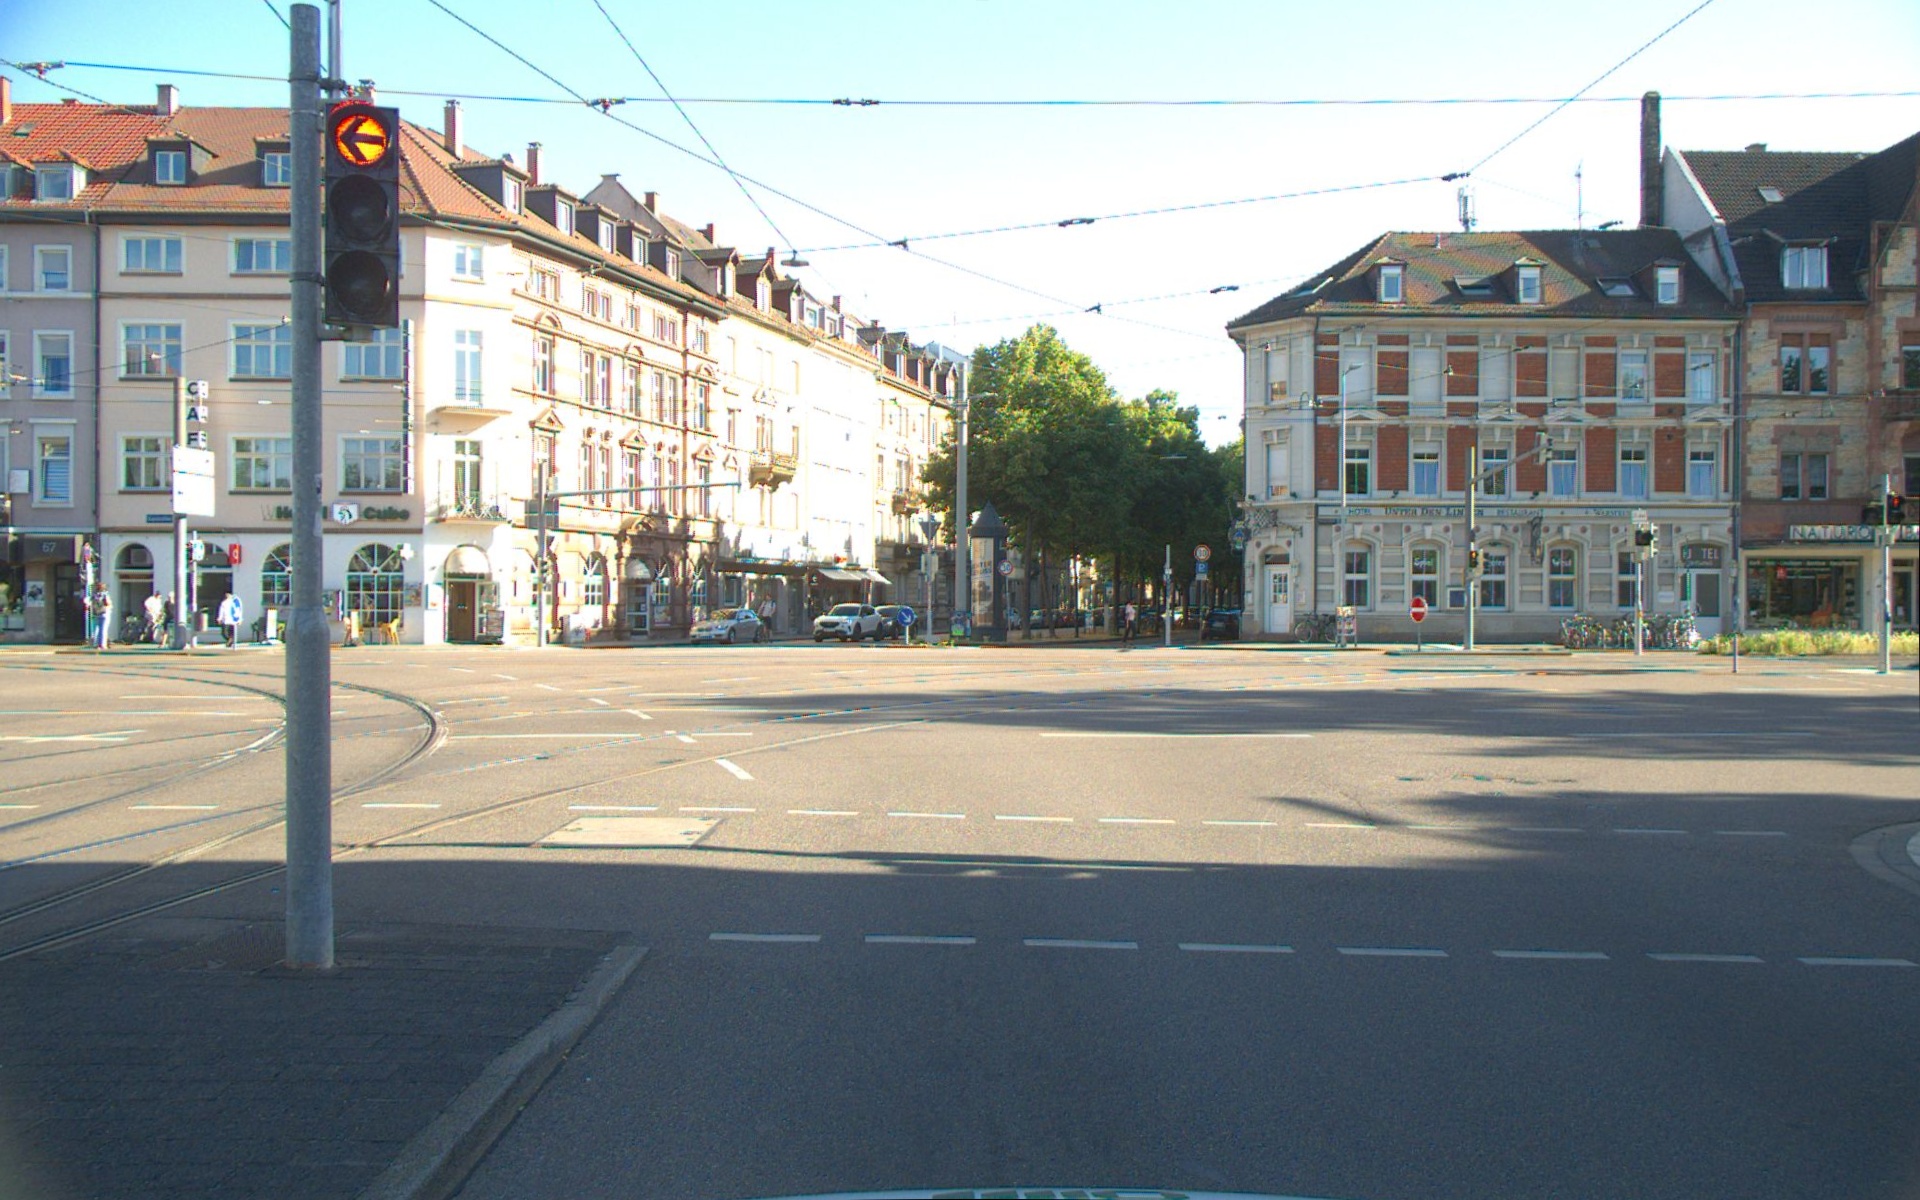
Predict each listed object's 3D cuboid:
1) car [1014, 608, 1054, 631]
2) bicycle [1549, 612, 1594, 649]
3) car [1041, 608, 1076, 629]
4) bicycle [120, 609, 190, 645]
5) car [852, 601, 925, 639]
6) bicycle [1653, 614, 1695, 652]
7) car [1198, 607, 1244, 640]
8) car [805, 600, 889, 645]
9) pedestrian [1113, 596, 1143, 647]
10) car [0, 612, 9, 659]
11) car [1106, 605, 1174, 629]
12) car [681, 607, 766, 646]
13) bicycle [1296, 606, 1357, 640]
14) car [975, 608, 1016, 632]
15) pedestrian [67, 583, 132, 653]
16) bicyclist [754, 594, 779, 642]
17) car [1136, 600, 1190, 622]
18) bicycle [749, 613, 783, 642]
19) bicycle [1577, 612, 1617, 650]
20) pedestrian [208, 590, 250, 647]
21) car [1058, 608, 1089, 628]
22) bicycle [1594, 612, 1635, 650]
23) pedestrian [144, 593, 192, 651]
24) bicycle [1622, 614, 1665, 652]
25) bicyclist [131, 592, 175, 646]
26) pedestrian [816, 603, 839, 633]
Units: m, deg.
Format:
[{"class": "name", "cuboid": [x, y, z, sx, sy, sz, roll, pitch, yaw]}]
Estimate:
[{"class": "car", "cuboid": [5.525, 1.422, 122.732, 1.951, 1.640, 4.393, 0, 0, 17]}, {"class": "bicycle", "cuboid": [19.820, 0.984, 53.652, 0.789, 1.163, 2.175, 0, 0, 4]}, {"class": "car", "cuboid": [7.778, 1.419, 130.556, 1.798, 1.579, 4.393, 0, 0, 16]}, {"class": "bicycle", "cuboid": [-27.172, 0.920, 55.848, 2.048, 1.202, 0.631, 0, 0, -1]}, {"class": "car", "cuboid": [-3.150, 0.859, 73.782, 1.951, 1.640, 4.393, 0, 0, 17]}, {"class": "bicycle", "cuboid": [23.035, 1.054, 53.392, 0.596, 1.156, 2.136, 0, 0, 4]}, {"class": "car", "cuboid": [13.068, 1.156, 82.627, 1.951, 1.613, 4.003, 0, 0, 13]}, {"class": "car", "cuboid": [-4.544, 0.881, 67.247, 1.951, 1.713, 4.393, 0, 0, 17]}, {"class": "pedestrian", "cuboid": [5.847, 0.749, 57.470, 1.024, 1.774, 0.809, 0, 0, 5]}, {"class": "car", "cuboid": [-32.400, 1.142, 51.939, 3.907, 1.478, 1.999, 0, 0, -3]}, {"class": "car", "cuboid": [12.591, 1.196, 115.517, 4.290, 1.640, 1.998, 0, 0, 26]}, {"class": "car", "cuboid": [-9.528, 1.033, 66.893, 1.858, 1.481, 4.002, 0, 0, 17]}, {"class": "bicycle", "cuboid": [12.749, 0.815, 57.577, 2.045, 1.144, 0.366, 1, -1, -5]}, {"class": "car", "cuboid": [2.411, 1.322, 110.984, 1.951, 1.512, 4.003, 0, 0, 13]}, {"class": "pedestrian", "cuboid": [-21.569, 0.446, 41.487, 1.058, 1.714, 1.103, 0, 0, -1]}, {"class": "bicyclist", "cuboid": [-7.587, 0.691, 64.925, 0.664, 1.852, 1.071, 0, 0, 12]}, {"class": "car", "cuboid": [16.417, 0.881, 133.866, 3.912, 1.736, 1.996, 0, 0, 30]}, {"class": "bicycle", "cuboid": [-7.598, 1.079, 64.883, 0.665, 1.085, 2.127, 0, 0, 12]}, {"class": "bicycle", "cuboid": [20.591, 0.995, 53.533, 0.605, 1.163, 2.175, 0, 0, 4]}, {"class": "pedestrian", "cuboid": [-23.327, 0.577, 52.771, 1.000, 1.806, 0.928, 0, 0, -40]}, {"class": "car", "cuboid": [9.391, 1.458, 136.457, 1.727, 1.576, 4.394, 0, 0, 16]}, {"class": "bicycle", "cuboid": [21.163, 0.989, 53.503, 0.605, 1.163, 2.175, 0, 0, 4]}, {"class": "pedestrian", "cuboid": [-24.894, 0.682, 52.001, 0.985, 1.806, 0.942, 0, 0, 14]}, {"class": "bicycle", "cuboid": [22.071, 1.051, 53.444, 0.605, 1.163, 2.175, 0, 0, 4]}, {"class": "bicyclist", "cuboid": [-27.300, 0.628, 55.954, 1.142, 1.806, 0.748, 0, 0, -2]}, {"class": "pedestrian", "cuboid": [-6.999, 0.928, 87.445, 0.908, 1.562, 1.138, 0, 0, 13]}]
